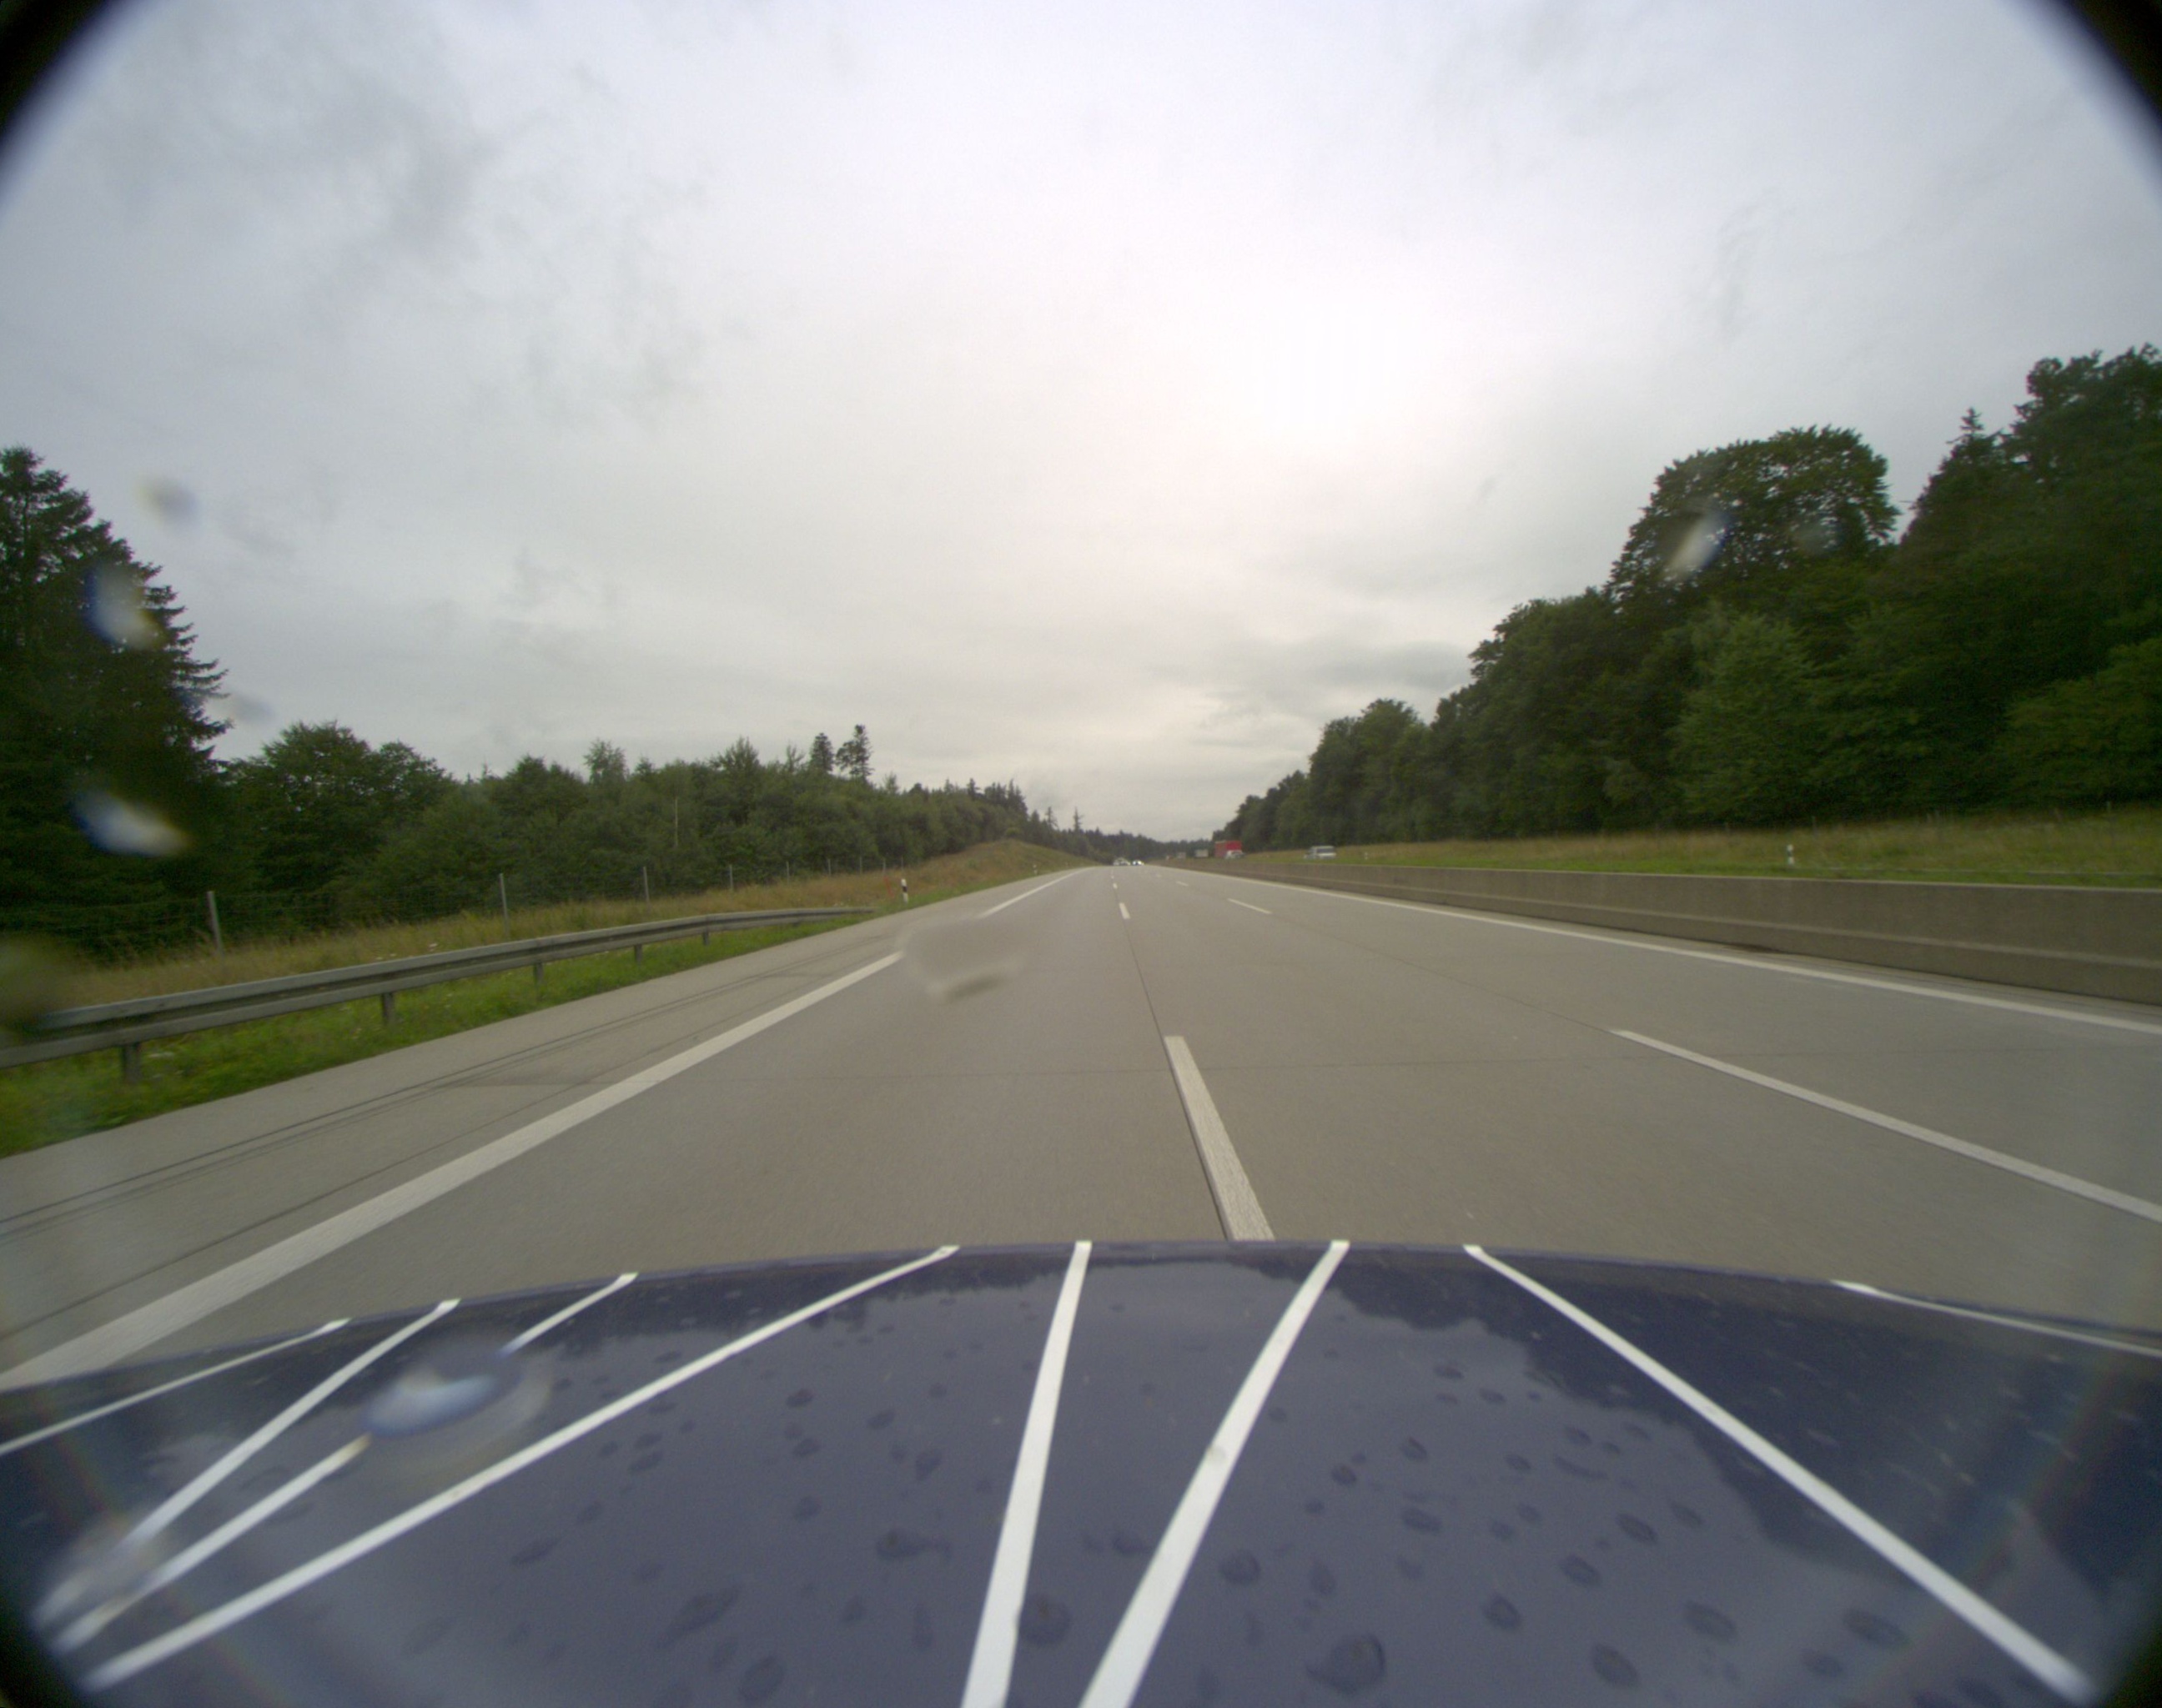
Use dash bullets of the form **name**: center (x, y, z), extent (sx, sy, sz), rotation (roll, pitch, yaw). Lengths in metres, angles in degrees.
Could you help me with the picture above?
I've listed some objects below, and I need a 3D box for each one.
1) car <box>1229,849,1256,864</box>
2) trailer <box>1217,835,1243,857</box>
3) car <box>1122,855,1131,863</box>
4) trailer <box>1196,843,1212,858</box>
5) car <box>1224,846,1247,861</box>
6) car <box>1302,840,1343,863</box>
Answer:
- **car**: center (17.517, 0.240, 82.523), extent (1.998, 1.458, 4.492), rotation (-2, 0, 1)
- **trailer**: center (27.988, -1.388, 143.253), extent (2.614, 3.920, 14.382), rotation (-2, 0, 2)
- **car**: center (12.796, 1.351, 213.515), extent (2.214, 2.001, 4.834), rotation (-3, -1, -1)
- **trailer**: center (31.583, -0.940, 195.010), extent (2.810, 3.678, 9.014), rotation (-2, 0, 3)
- **car**: center (21.884, -0.043, 107.857), extent (1.998, 1.944, 5.626), rotation (-2, 0, 0)
- **car**: center (19.841, -0.190, 62.568), extent (1.998, 1.789, 4.391), rotation (-2, 0, 1)
